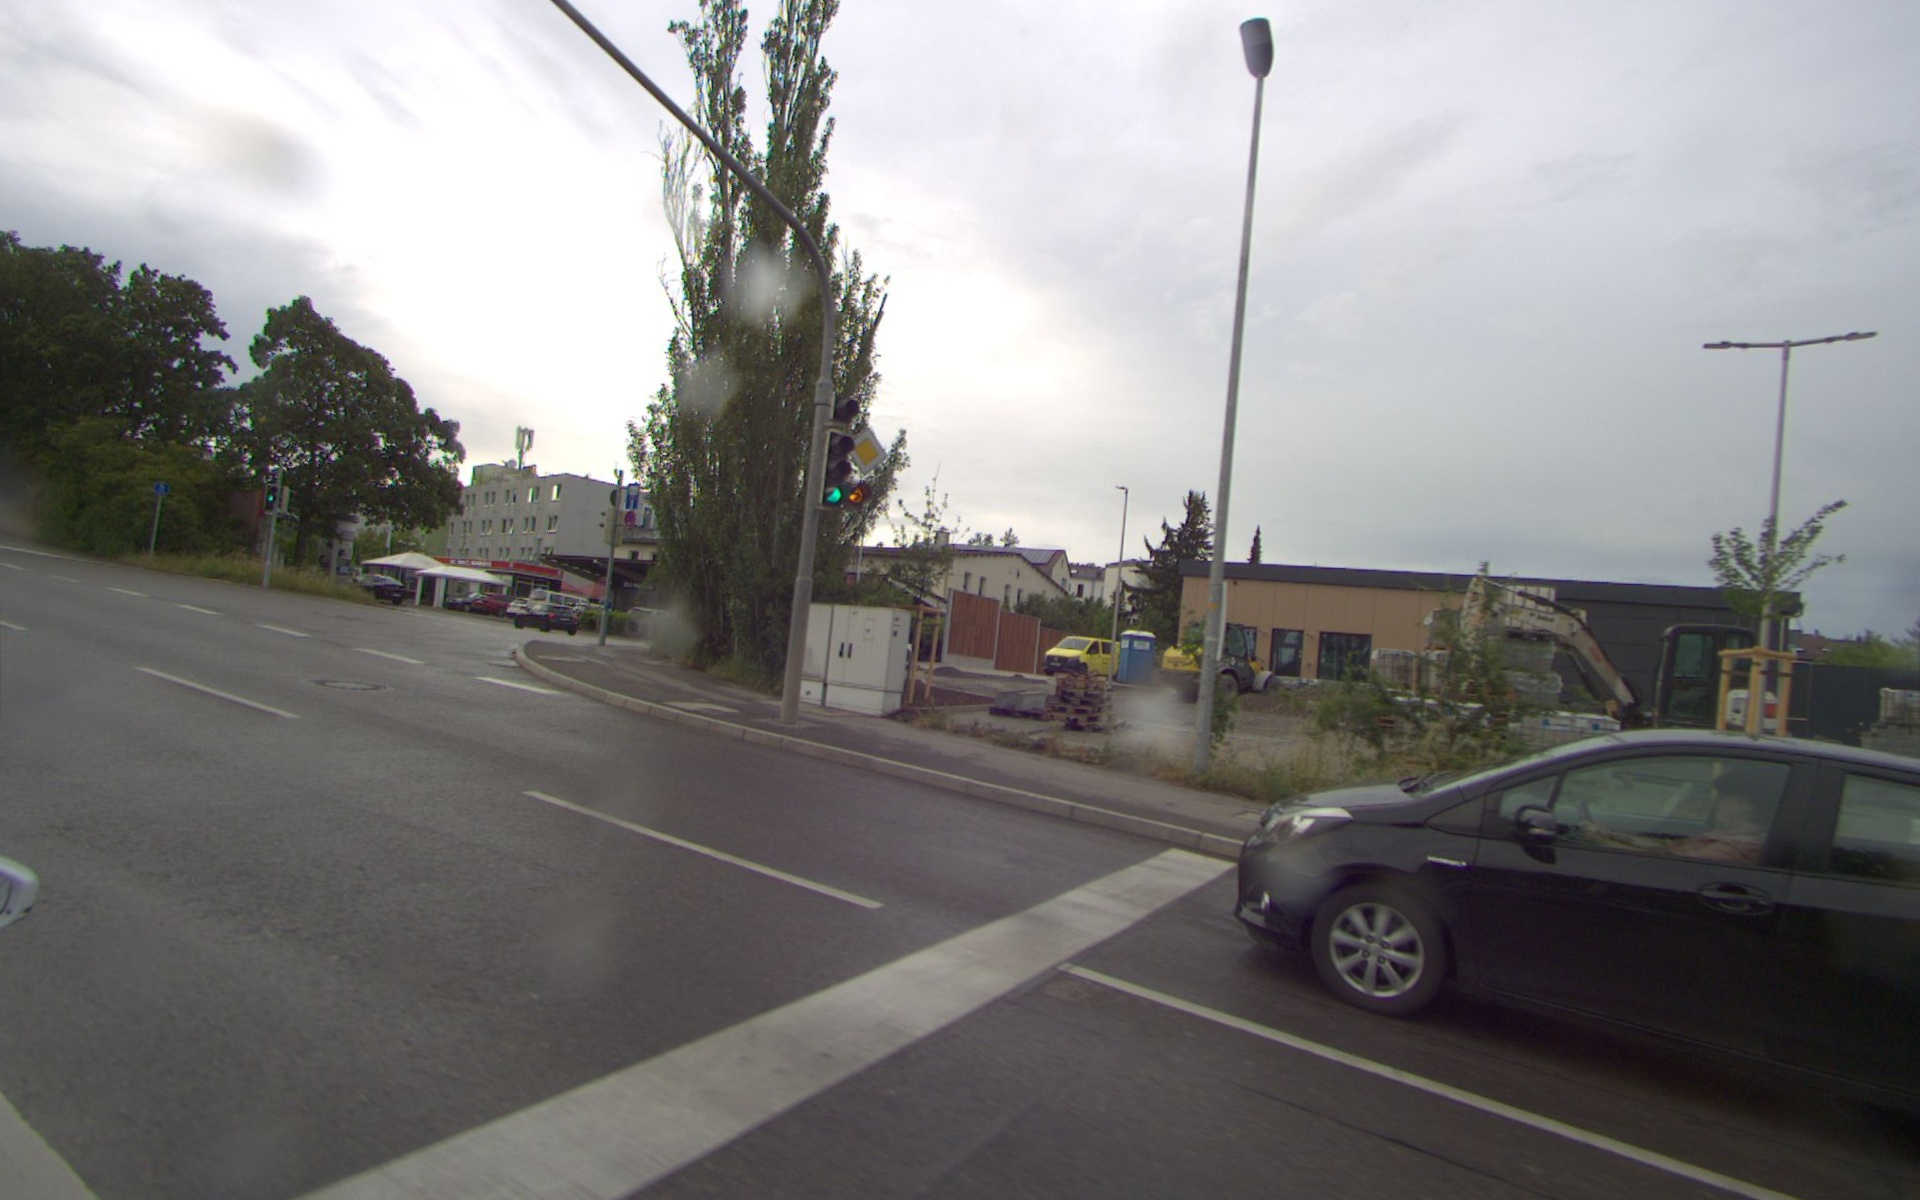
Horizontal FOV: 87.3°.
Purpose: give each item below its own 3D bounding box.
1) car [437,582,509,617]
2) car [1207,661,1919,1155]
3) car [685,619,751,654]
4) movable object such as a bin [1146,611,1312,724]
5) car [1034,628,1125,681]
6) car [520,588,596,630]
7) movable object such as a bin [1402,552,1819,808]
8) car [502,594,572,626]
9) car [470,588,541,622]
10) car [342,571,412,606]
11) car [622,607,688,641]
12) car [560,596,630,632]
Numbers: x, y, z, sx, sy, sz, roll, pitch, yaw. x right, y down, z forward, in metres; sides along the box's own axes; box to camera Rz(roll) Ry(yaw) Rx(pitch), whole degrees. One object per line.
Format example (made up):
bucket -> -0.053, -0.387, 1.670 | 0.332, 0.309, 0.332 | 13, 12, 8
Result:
car -> -30.692, -0.009, 63.555 | 1.490, 1.581, 3.882 | 7, -3, 24
car -> 3.661, 1.304, 4.464 | 4.564, 1.486, 1.750 | 5, -4, 31
car -> -13.991, 2.140, 58.306 | 1.490, 1.581, 3.882 | 7, -3, 24
movable object such as a bin -> 8.049, 2.054, 29.826 | 4.943, 2.648, 1.881 | 10, -3, -37
car -> 5.454, 2.498, 45.587 | 2.074, 1.820, 4.317 | 7, -2, 36
car -> -24.048, 0.562, 60.320 | 1.823, 1.967, 3.882 | 7, -3, 24
movable object such as a bin -> 10.687, 1.261, 17.193 | 5.326, 3.313, 2.311 | 8, -2, 23
car -> -26.034, 0.620, 62.036 | 1.490, 1.413, 3.882 | 7, -3, 24
car -> -28.343, 0.317, 62.819 | 1.490, 1.581, 3.882 | 7, -3, 24
car -> -35.594, -0.730, 61.394 | 4.073, 1.602, 1.783 | 5, -5, 31
car -> -18.481, 1.478, 61.124 | 1.490, 1.581, 3.882 | 7, -3, 24
car -> -21.741, 0.858, 60.000 | 1.490, 1.581, 3.882 | 7, -3, 24
